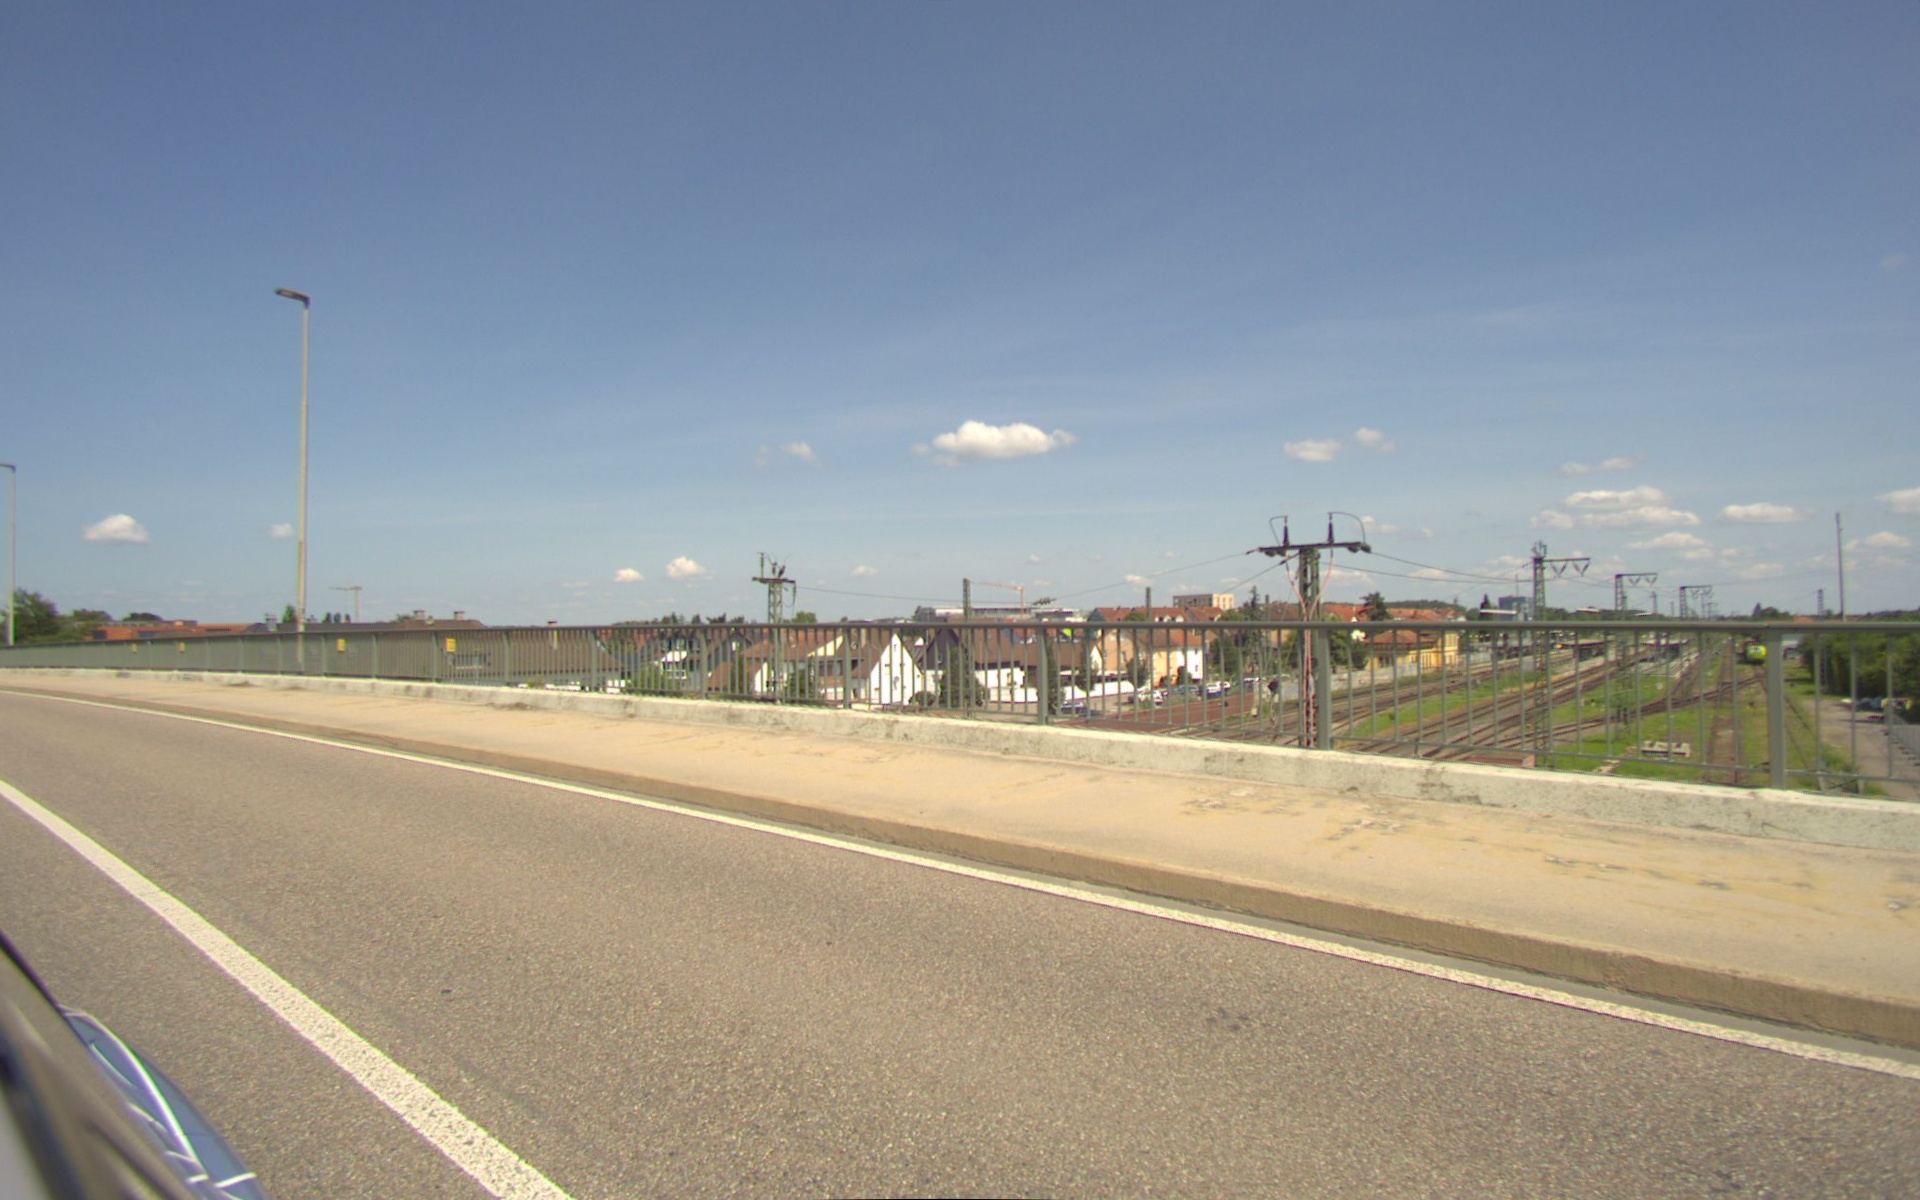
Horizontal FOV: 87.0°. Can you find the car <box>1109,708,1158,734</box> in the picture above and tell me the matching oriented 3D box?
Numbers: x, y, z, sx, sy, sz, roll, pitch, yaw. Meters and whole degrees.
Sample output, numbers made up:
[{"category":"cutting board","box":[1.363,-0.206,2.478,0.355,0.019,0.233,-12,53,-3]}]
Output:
[{"category":"car","box":[16.380,11.433,95.847,2.172,1.613,4.632,-5,2,-27]}]
